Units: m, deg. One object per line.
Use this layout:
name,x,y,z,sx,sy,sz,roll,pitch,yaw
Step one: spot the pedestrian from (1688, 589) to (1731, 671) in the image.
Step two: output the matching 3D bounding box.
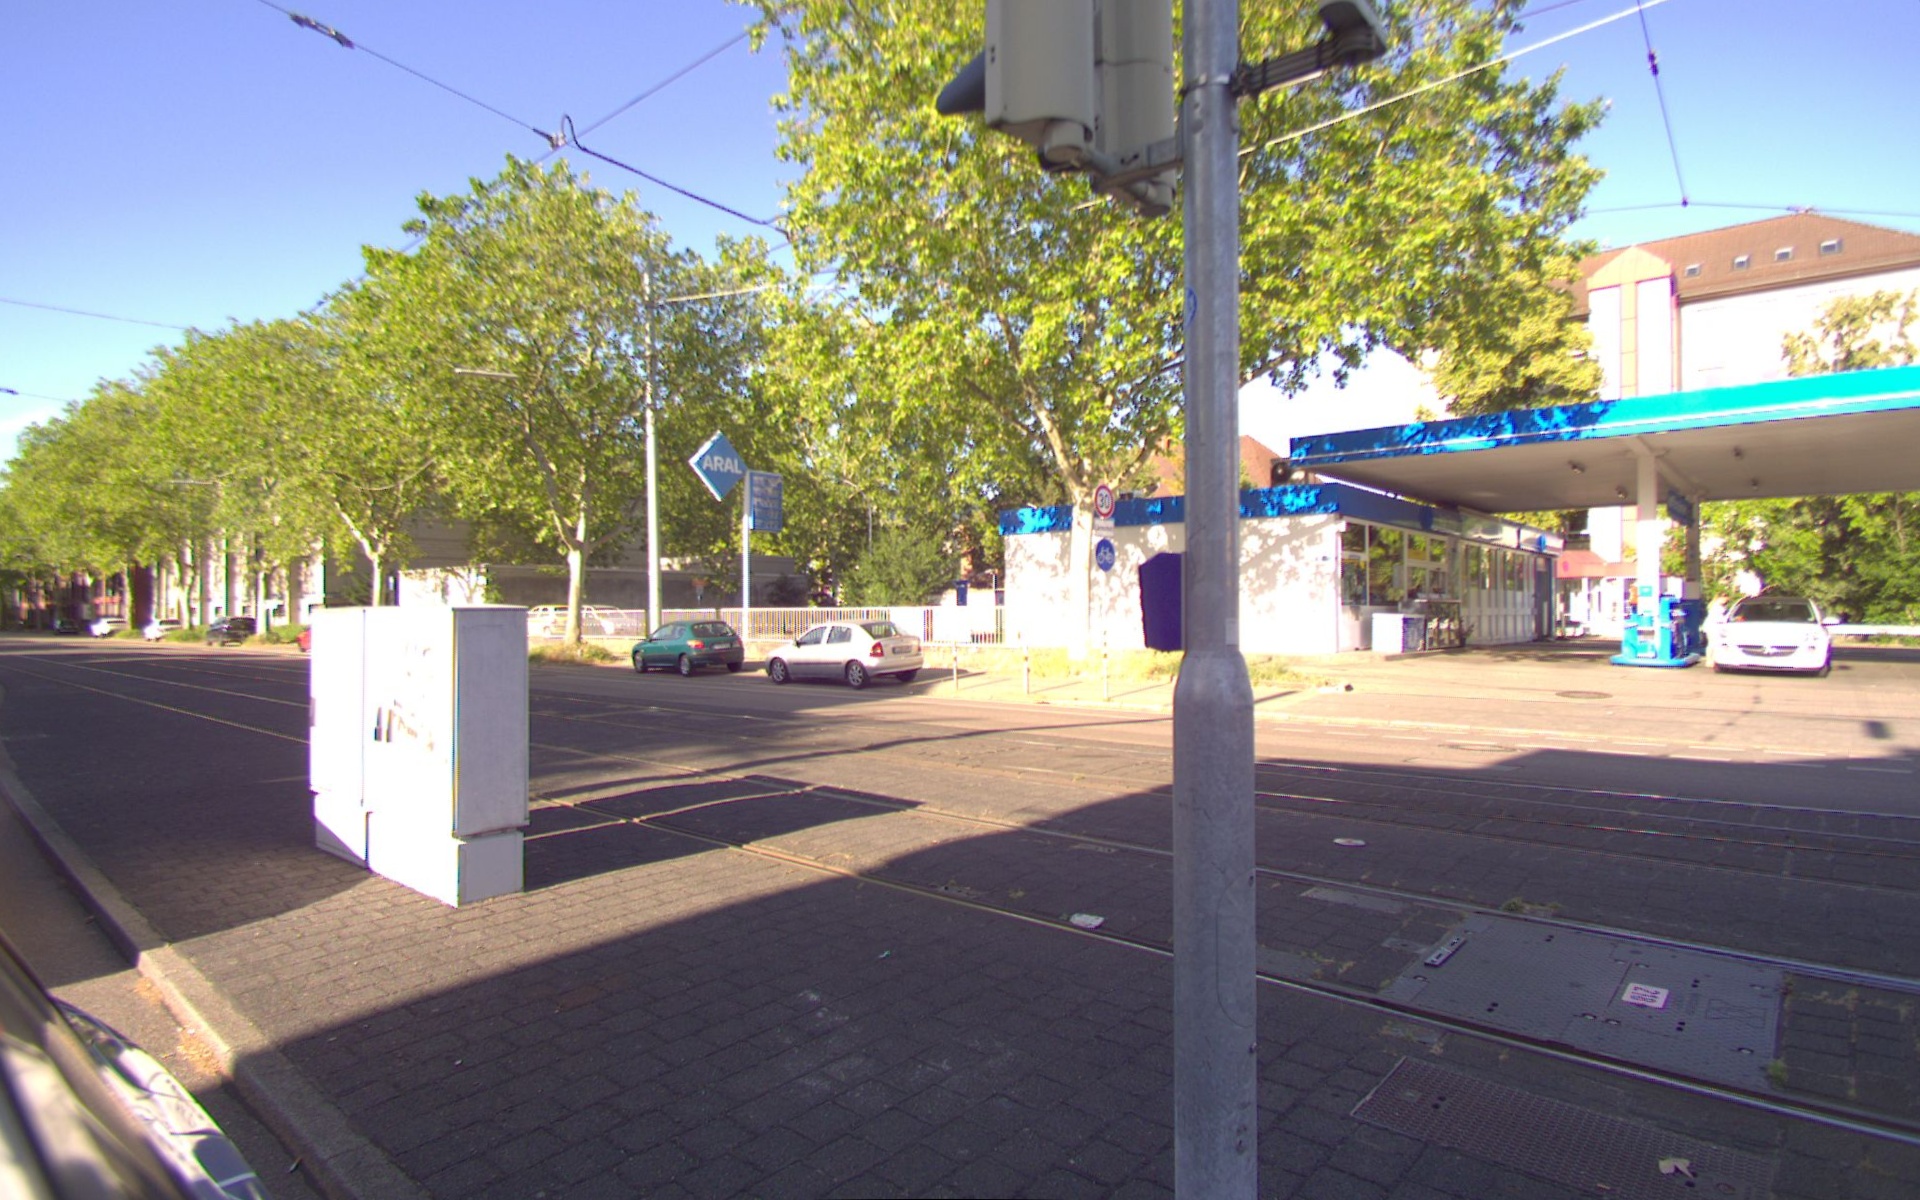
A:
pedestrian,16.014,0.641,21.630,0.493,1.714,0.649,1,-2,-45

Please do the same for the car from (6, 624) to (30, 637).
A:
car,-112.139,3.573,120.494,3.748,1.459,1.674,-1,1,41

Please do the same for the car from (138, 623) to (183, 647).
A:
car,-53.861,2.348,68.169,3.748,1.459,1.674,-1,1,41

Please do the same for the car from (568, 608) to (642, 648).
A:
car,-15.265,1.199,43.438,3.303,1.604,1.579,-1,0,41

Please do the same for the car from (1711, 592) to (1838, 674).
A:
car,15.887,0.612,19.688,1.757,1.453,3.521,-1,-1,41

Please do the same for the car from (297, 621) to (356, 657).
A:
car,-28.686,1.760,45.821,2.621,1.519,1.579,-1,1,41

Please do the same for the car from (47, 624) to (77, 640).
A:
car,-85.239,3.038,96.033,3.748,1.459,1.674,-1,1,41

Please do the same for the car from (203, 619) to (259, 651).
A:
car,-40.675,1.945,56.444,3.748,1.670,1.674,-1,1,41

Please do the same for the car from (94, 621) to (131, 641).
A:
car,-66.678,2.453,79.596,3.748,1.459,1.674,-1,1,41

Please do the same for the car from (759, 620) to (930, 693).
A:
car,-2.635,1.207,22.634,3.812,1.413,1.674,-1,1,41

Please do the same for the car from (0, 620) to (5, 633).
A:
car,-133.931,3.690,140.461,3.748,1.798,1.674,-1,1,41

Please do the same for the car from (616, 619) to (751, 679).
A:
car,-7.399,1.269,26.962,3.748,1.413,1.674,-1,1,41

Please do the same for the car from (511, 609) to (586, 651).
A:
car,-17.084,1.234,41.961,3.303,1.628,1.579,-1,0,41

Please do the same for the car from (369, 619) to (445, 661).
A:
car,-21.876,1.562,39.993,3.303,1.519,1.579,-1,1,41
